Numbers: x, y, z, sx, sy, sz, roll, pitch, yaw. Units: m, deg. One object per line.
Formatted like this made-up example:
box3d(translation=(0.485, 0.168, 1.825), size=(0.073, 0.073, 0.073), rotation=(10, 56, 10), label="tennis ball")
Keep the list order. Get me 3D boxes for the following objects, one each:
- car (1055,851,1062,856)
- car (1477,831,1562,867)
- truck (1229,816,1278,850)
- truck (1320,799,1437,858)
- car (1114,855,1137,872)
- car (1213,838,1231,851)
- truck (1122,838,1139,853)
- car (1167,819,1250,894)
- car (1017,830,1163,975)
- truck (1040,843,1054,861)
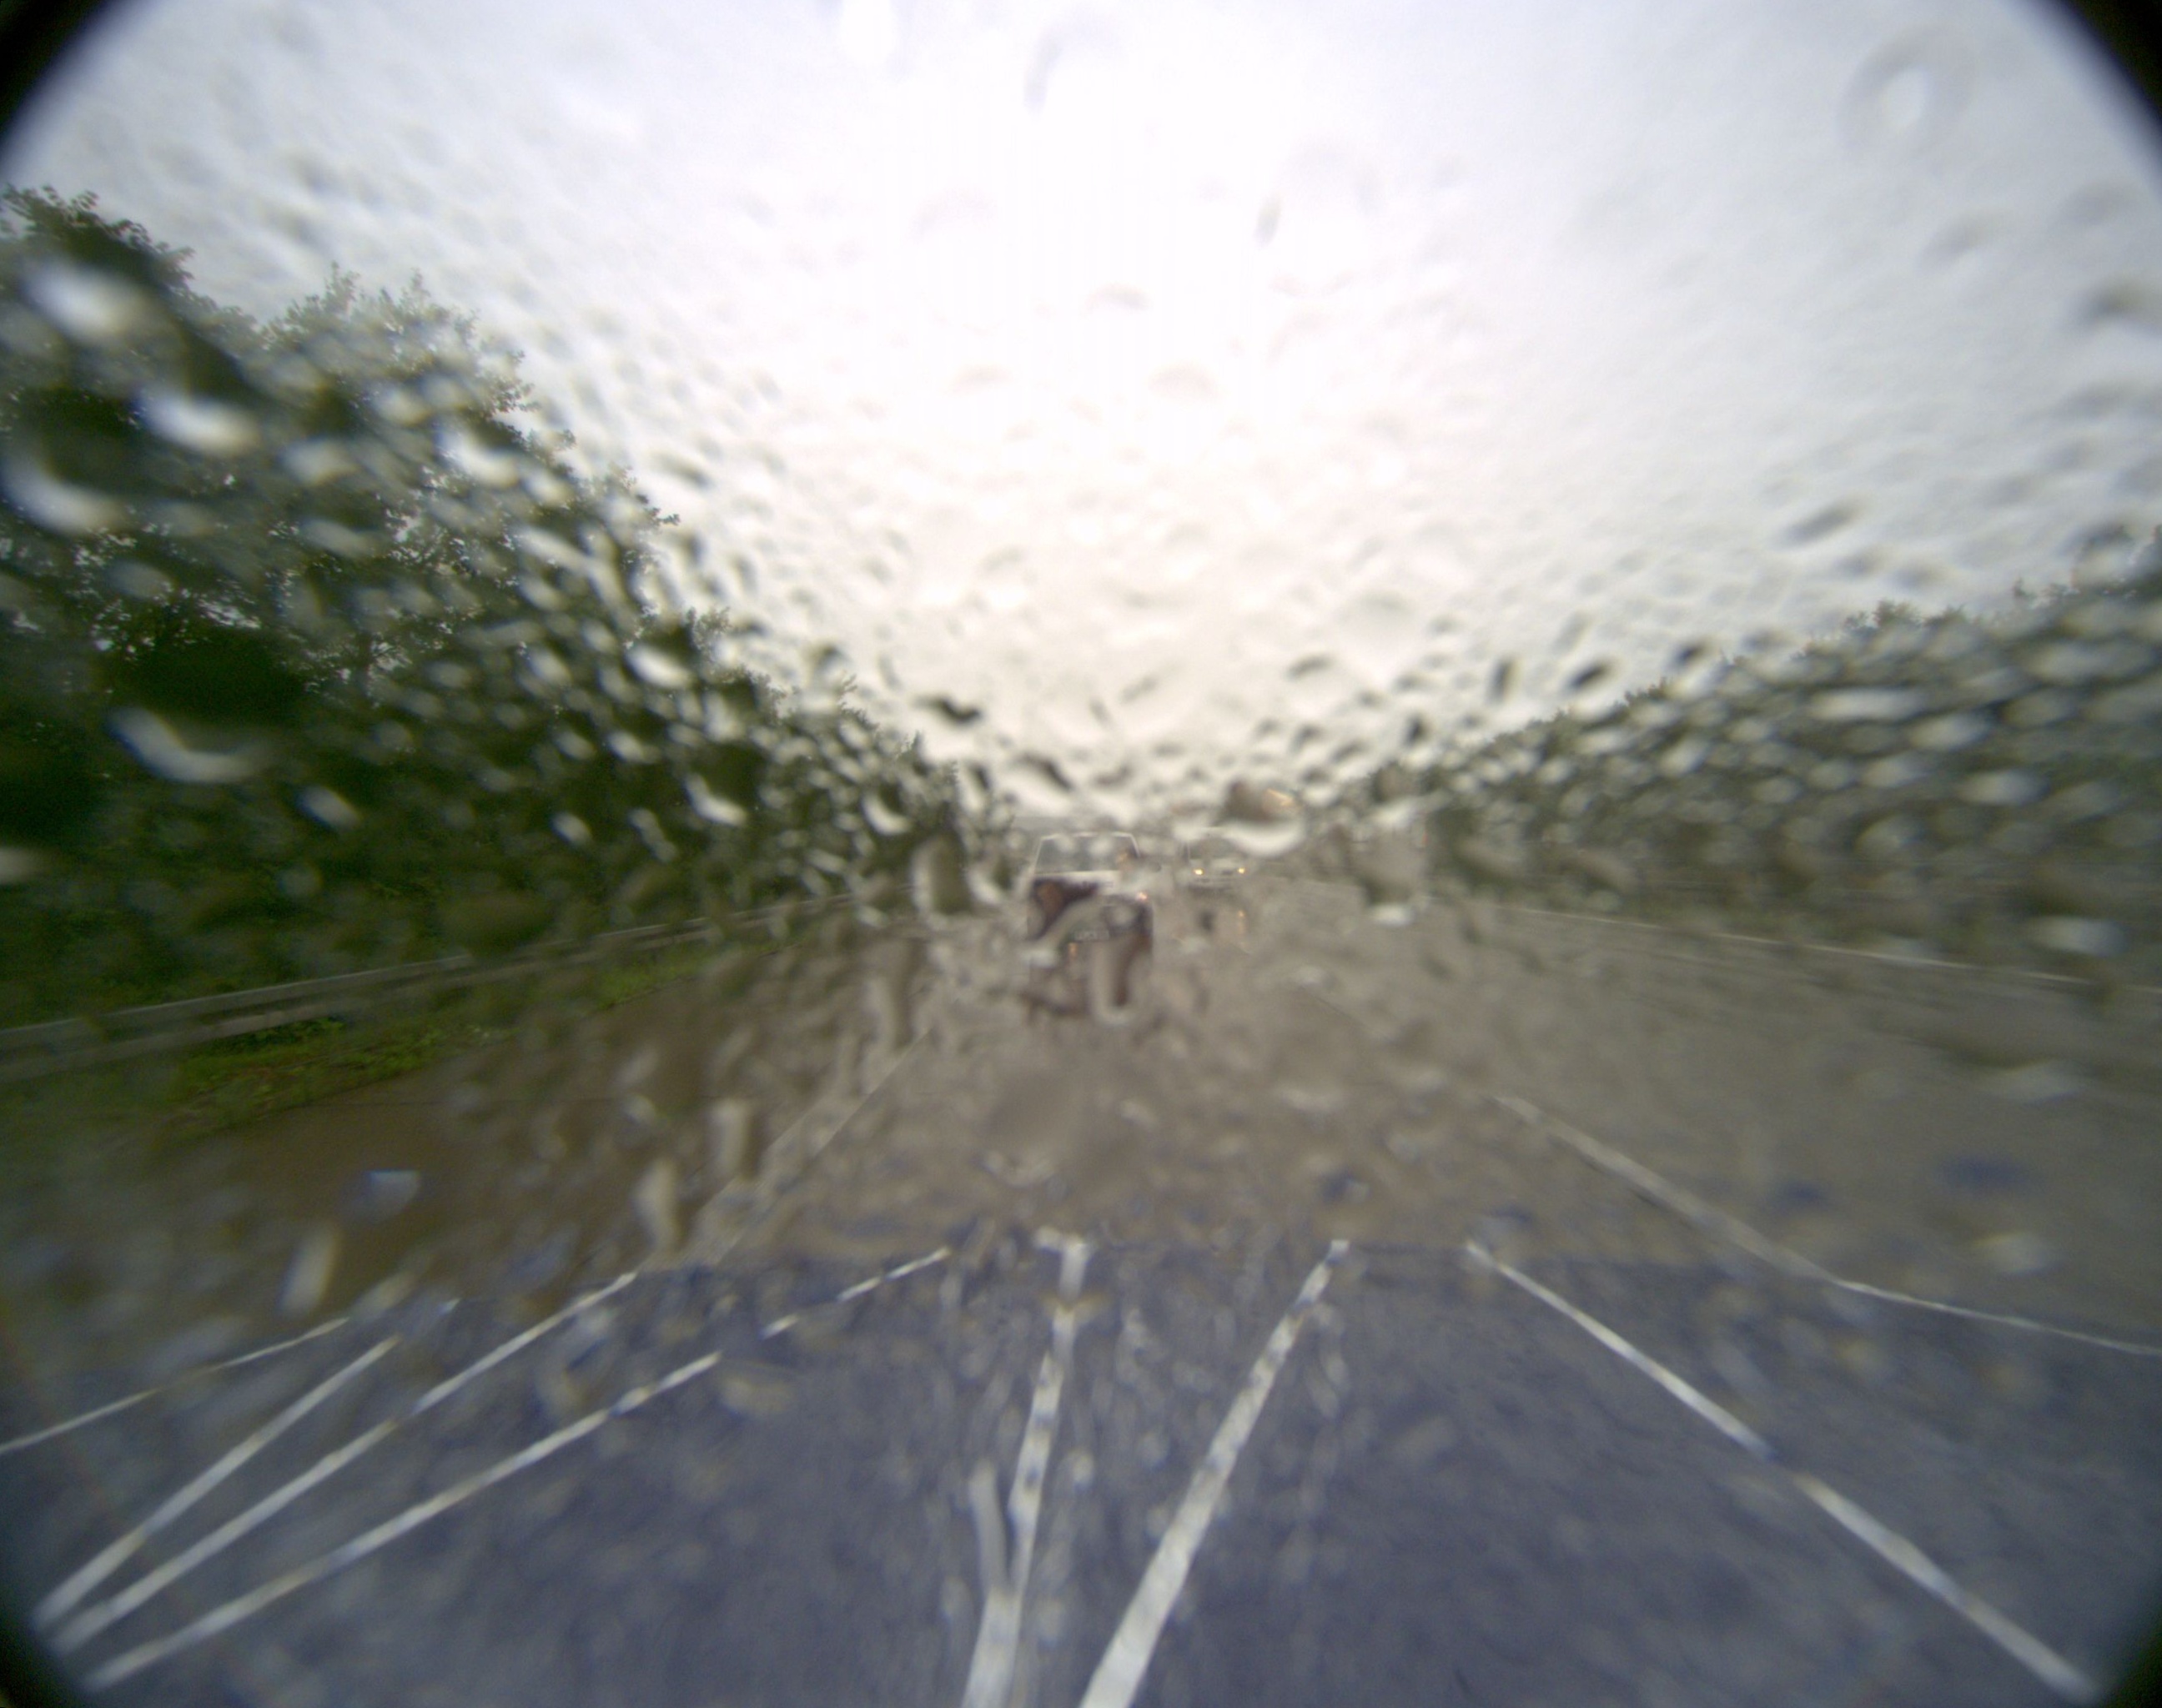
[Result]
box3d(translation=(-6.342, -0.163, 209.952), size=(1.850, 1.521, 3.999), rotation=(-2, 0, -2), label="car")
box3d(translation=(21.956, -0.262, 38.248), size=(1.952, 1.649, 4.000), rotation=(-2, 0, 1), label="car")
box3d(translation=(23.333, -2.746, 103.974), size=(3.132, 4.220, 13.538), rotation=(-2, 0, -2), label="truck")
box3d(translation=(24.470, -1.945, 64.182), size=(3.132, 4.220, 16.368), rotation=(-2, 0, -1), label="truck")
box3d(translation=(3.855, 0.823, 66.357), size=(1.745, 1.380, 4.320), rotation=(0, 1, -1), label="car")
box3d(translation=(19.608, -1.294, 105.870), size=(1.634, 1.761, 3.999), rotation=(-2, 0, -1), label="car")
box3d(translation=(14.645, -2.492, 226.426), size=(3.691, 4.280, 13.292), rotation=(-2, 0, -2), label="truck")
box3d(translation=(4.591, 0.079, 28.242), size=(2.003, 2.417, 5.790), rotation=(-2, 0, 0), label="car")
box3d(translation=(0.121, 0.647, 12.825), size=(1.904, 1.883, 5.042), rotation=(-2, 0, 0), label="car")
box3d(translation=(-8.448, -0.418, 188.164), size=(3.059, 3.994, 10.040), rotation=(1, -2, -4), label="truck")
